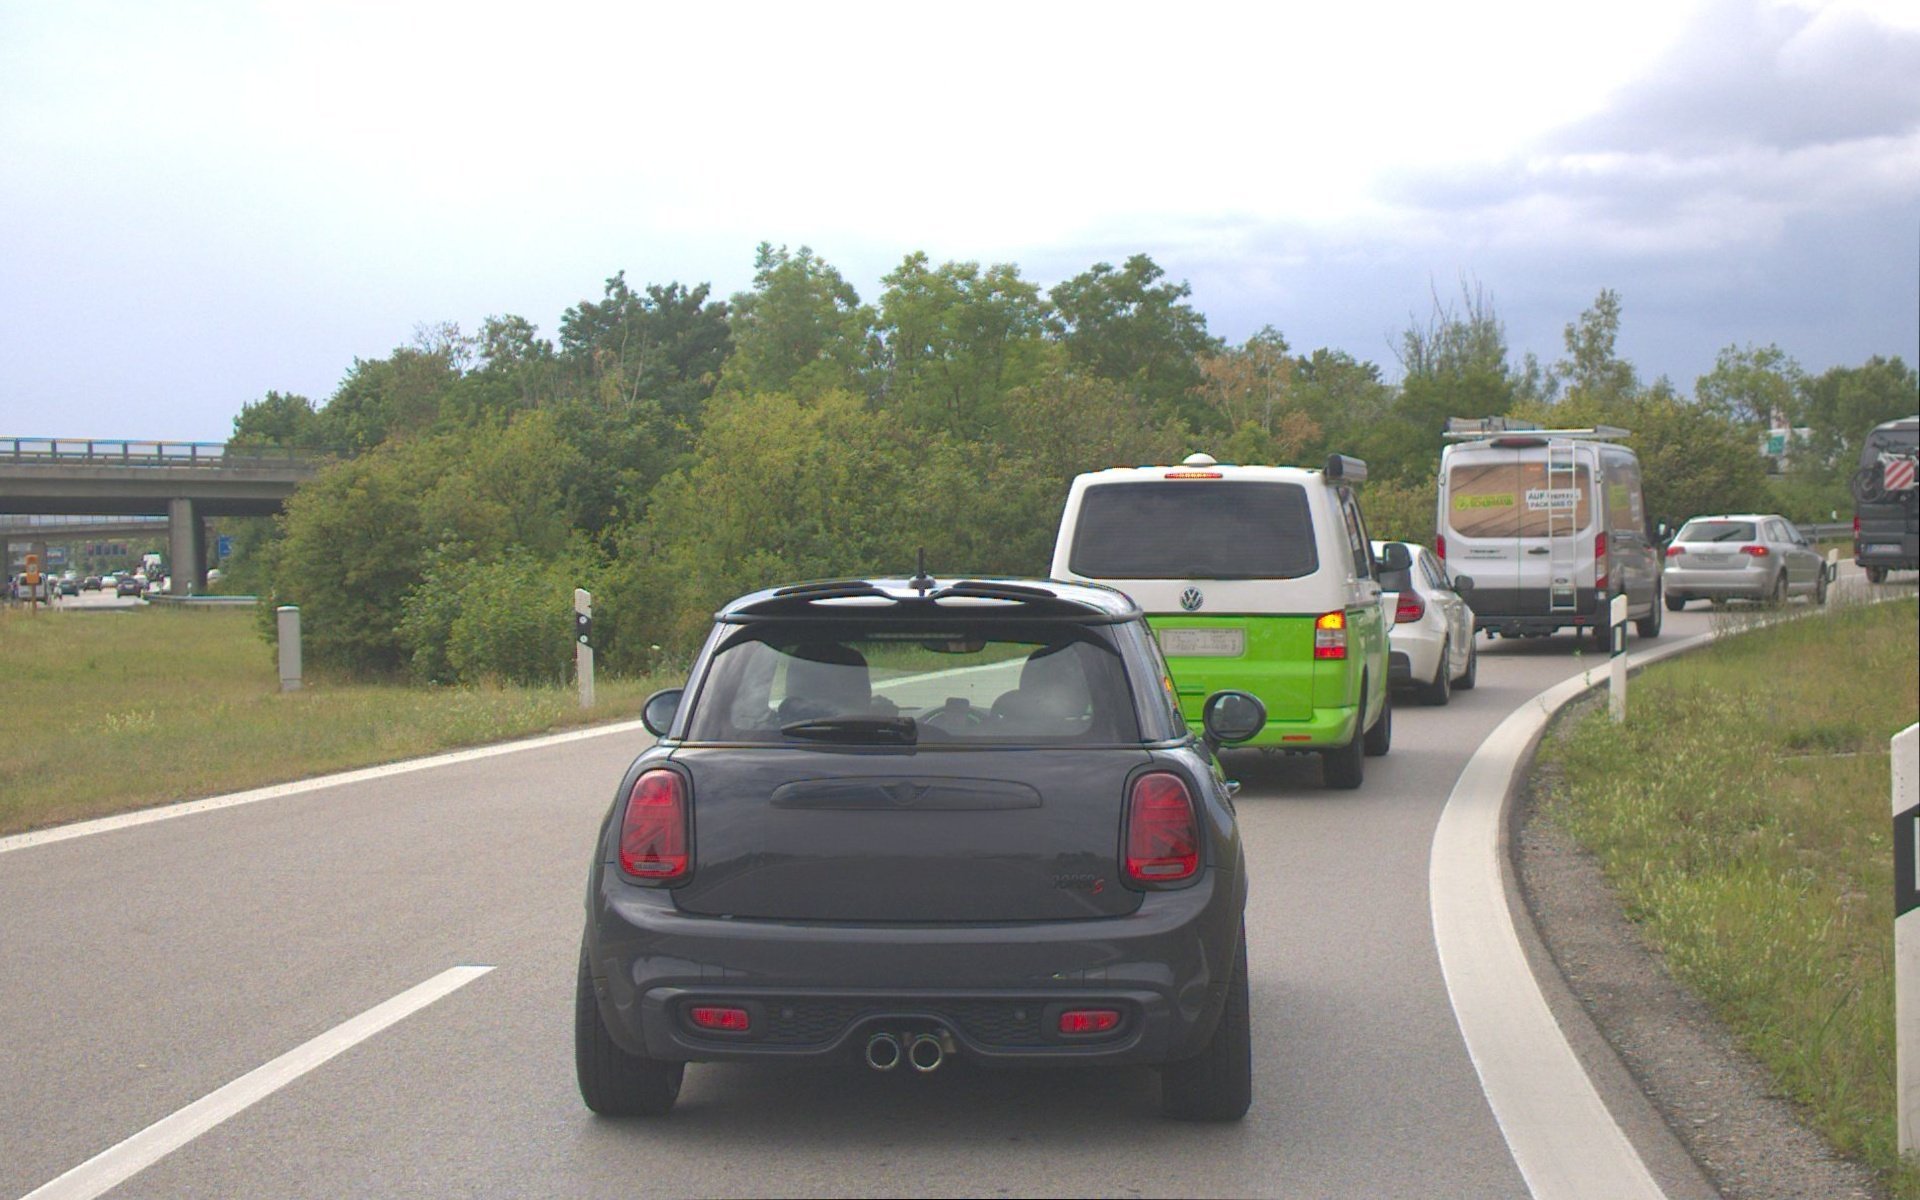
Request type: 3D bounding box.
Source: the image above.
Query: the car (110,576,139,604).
[{"bbox_3d":[-61.556,-0.755,253.401,1.993,2.007,4.001,1,0,-13],"label":"car"}]

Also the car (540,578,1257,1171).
[{"bbox_3d":[-0.092,0.648,10.165,1.727,1.409,3.725,0,1,2],"label":"car"}]

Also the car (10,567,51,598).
[{"bbox_3d":[-52.378,-0.991,193.787,1.876,1.745,4.488,-1,1,-11],"label":"car"}]

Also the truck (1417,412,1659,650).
[{"bbox_3d":[6.987,-0.834,41.094,2.180,2.649,5.105,0,1,17],"label":"truck"}]

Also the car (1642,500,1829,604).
[{"bbox_3d":[11.790,-0.717,52.101,1.869,1.505,3.994,0,1,27],"label":"car"}]

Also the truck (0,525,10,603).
[{"bbox_3d":[-43.327,-1.542,151.143,2.466,3.359,7.926,-1,0,-12],"label":"truck"}]

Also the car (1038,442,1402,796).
[{"bbox_3d":[1.730,0.082,21.638,1.785,2.007,3.998,0,1,12],"label":"car"}]

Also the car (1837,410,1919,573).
[{"bbox_3d":[17.136,-1.883,60.807,2.108,2.787,3.993,1,1,30],"label":"car"}]

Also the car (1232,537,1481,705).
[{"bbox_3d":[3.586,0.157,30.620,1.763,1.394,3.723,0,1,13],"label":"car"}]
